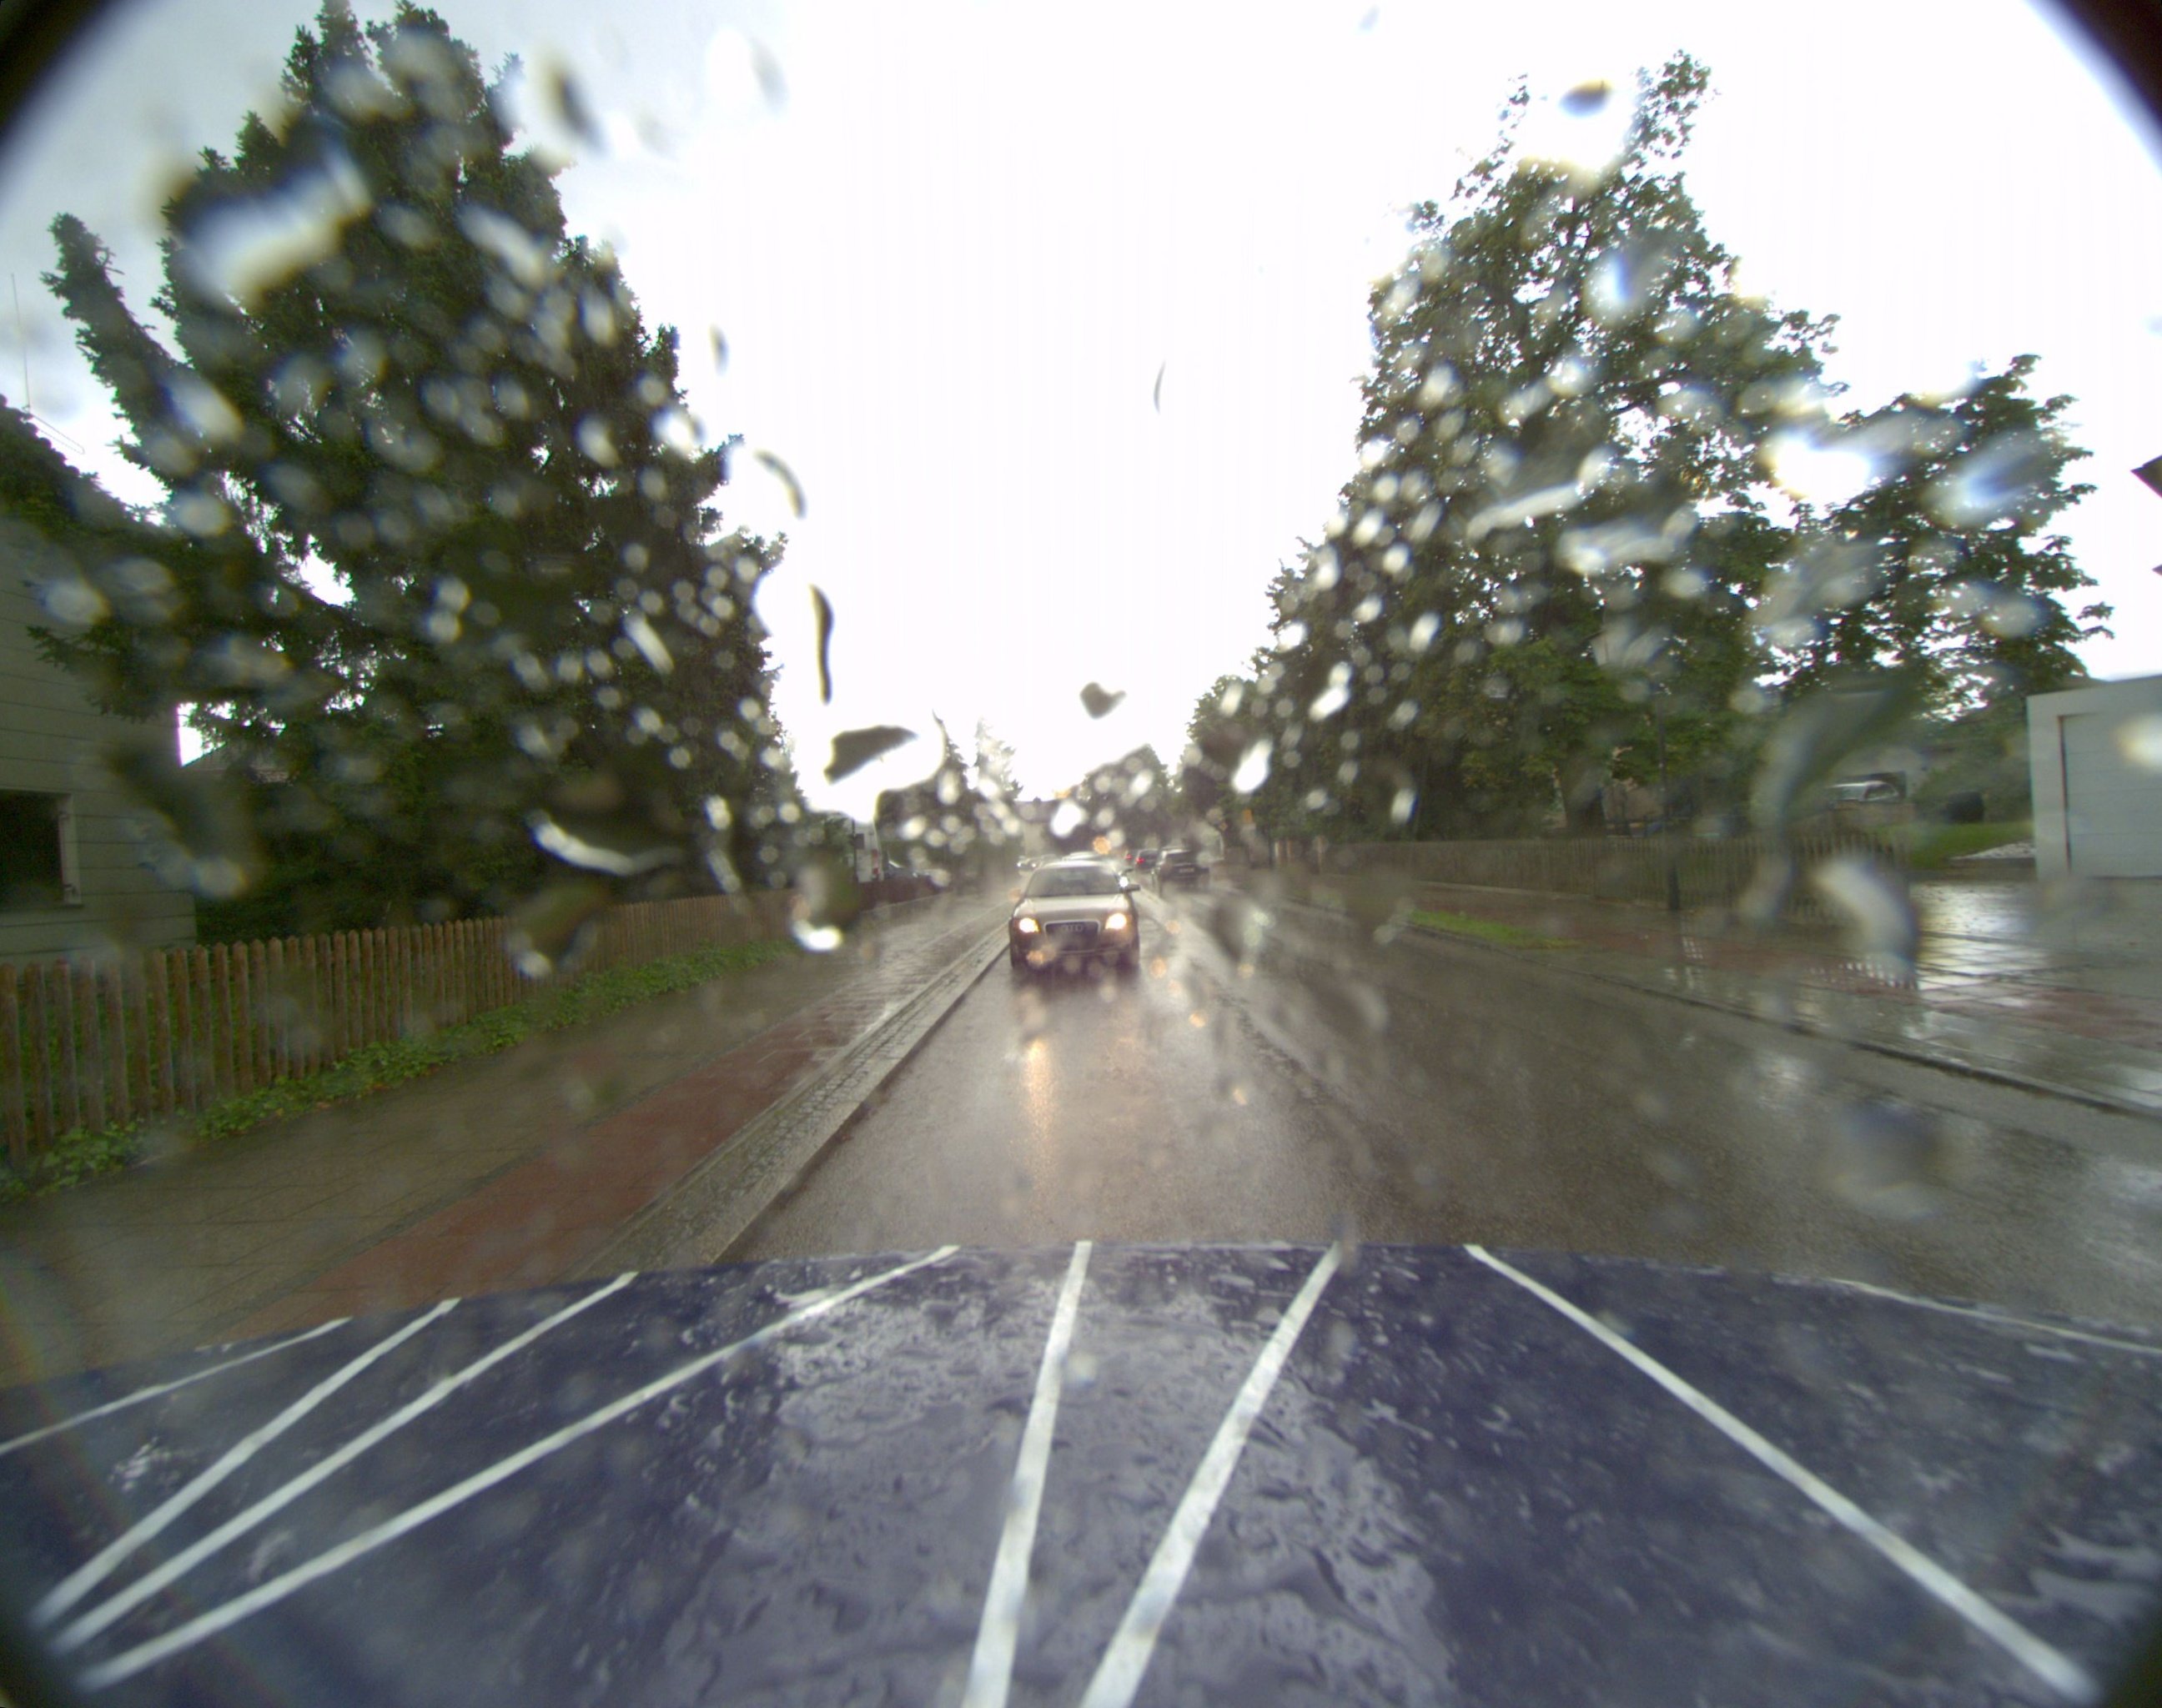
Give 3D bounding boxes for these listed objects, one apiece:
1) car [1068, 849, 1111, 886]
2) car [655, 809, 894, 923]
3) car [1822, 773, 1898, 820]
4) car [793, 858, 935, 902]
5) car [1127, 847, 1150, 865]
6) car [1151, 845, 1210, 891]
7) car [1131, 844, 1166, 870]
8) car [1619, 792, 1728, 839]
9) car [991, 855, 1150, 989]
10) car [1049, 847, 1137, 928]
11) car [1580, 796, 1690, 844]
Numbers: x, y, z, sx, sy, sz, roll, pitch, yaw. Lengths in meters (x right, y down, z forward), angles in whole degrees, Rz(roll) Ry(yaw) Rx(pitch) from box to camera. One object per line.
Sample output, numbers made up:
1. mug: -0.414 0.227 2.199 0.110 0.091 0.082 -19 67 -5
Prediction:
1. car: 0.423 0.597 37.495 1.872 1.512 4.960 -5 1 1
2. car: -7.610 0.273 19.416 5.321 2.712 1.998 0 1 -9
3. car: 40.666 -2.988 39.641 3.857 2.281 1.782 -3 1 -29
4. car: -7.356 0.849 26.107 4.443 1.413 1.829 0 1 -7
5. car: 4.914 0.155 65.302 1.712 1.457 4.000 -4 1 1
6. car: 3.562 0.467 27.731 1.642 1.512 4.188 -1 0 1
7. car: 4.302 0.164 49.028 1.785 1.457 4.374 -4 1 0
8. car: 28.581 -1.822 36.759 1.845 1.792 3.649 -6 0 -33
9. car: -0.097 0.835 11.403 1.872 1.512 4.188 -3 1 1
10. car: 0.298 0.735 19.624 1.872 1.603 4.960 -5 1 1
11. car: 26.062 -1.572 35.821 1.845 1.792 3.649 -6 0 -33
